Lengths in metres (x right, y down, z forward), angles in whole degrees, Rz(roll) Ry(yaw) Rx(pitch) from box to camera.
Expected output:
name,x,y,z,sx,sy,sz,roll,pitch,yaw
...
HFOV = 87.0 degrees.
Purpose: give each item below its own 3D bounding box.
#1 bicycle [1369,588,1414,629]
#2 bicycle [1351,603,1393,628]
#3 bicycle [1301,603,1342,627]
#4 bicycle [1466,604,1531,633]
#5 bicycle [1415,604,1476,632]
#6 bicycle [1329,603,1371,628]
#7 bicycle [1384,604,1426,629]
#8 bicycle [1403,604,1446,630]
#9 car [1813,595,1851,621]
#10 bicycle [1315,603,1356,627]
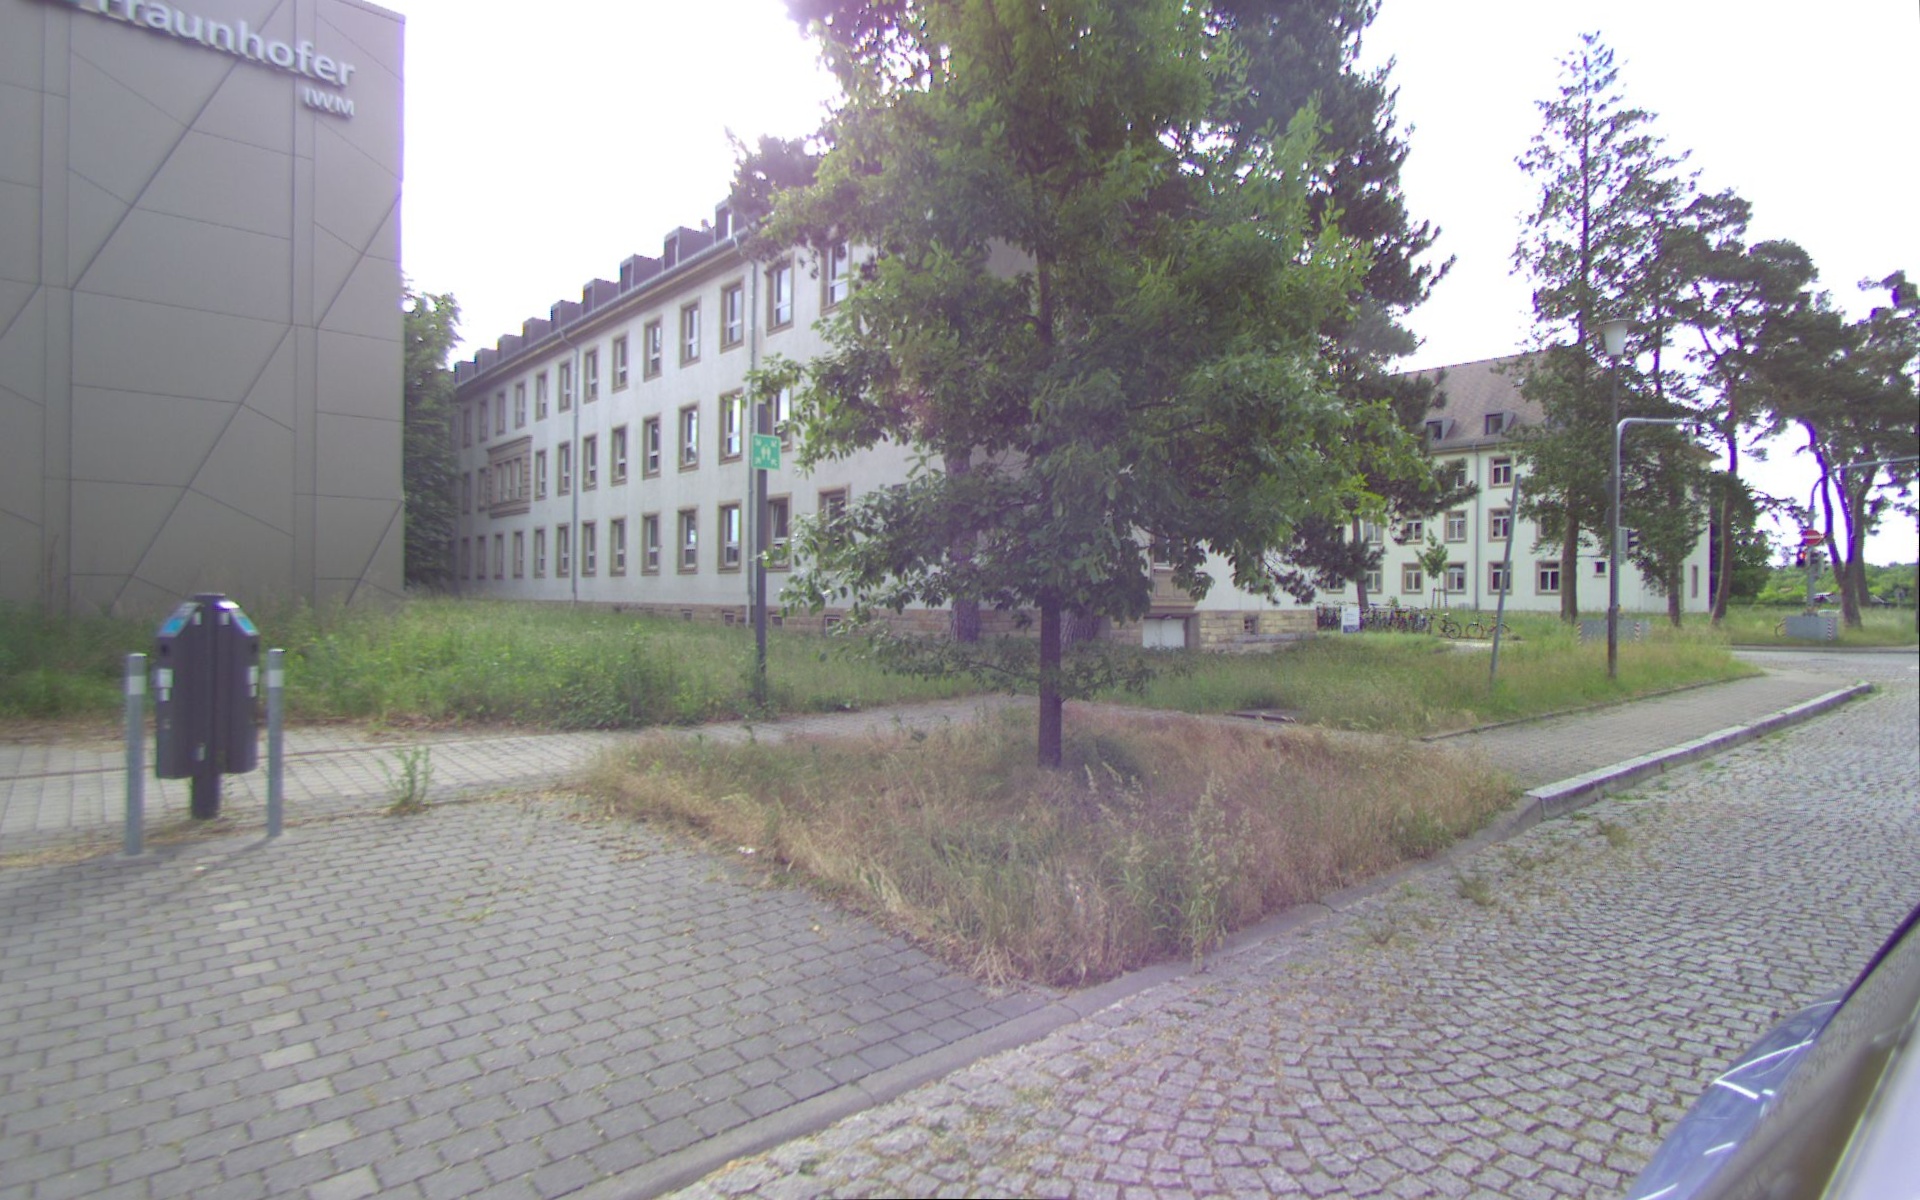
name,x,y,z,sx,sy,sz,roll,pitch,yaw
bicycle,18.985,0.352,44.520,2.159,1.753,0.905,0,0,-39
bicycle,18.363,0.692,45.102,2.159,1.070,0.800,0,0,-39
bicycle,16.743,0.686,46.908,2.126,1.070,0.800,0,0,-39
bicycle,21.154,0.712,39.773,0.705,1.109,2.160,1,0,-44
bicycle,19.838,0.723,41.388,0.705,1.070,2.160,1,0,-44
bicycle,17.555,0.695,45.546,2.126,1.070,0.800,0,0,-39
bicycle,19.233,0.701,43.722,2.159,1.070,0.800,0,0,-39
bicycle,19.781,0.707,43.072,2.126,1.070,0.800,0,0,-39
car,64.207,0.583,74.490,1.993,1.810,3.939,1,0,42
bicycle,17.181,0.690,46.289,2.126,1.070,0.800,0,0,-39
